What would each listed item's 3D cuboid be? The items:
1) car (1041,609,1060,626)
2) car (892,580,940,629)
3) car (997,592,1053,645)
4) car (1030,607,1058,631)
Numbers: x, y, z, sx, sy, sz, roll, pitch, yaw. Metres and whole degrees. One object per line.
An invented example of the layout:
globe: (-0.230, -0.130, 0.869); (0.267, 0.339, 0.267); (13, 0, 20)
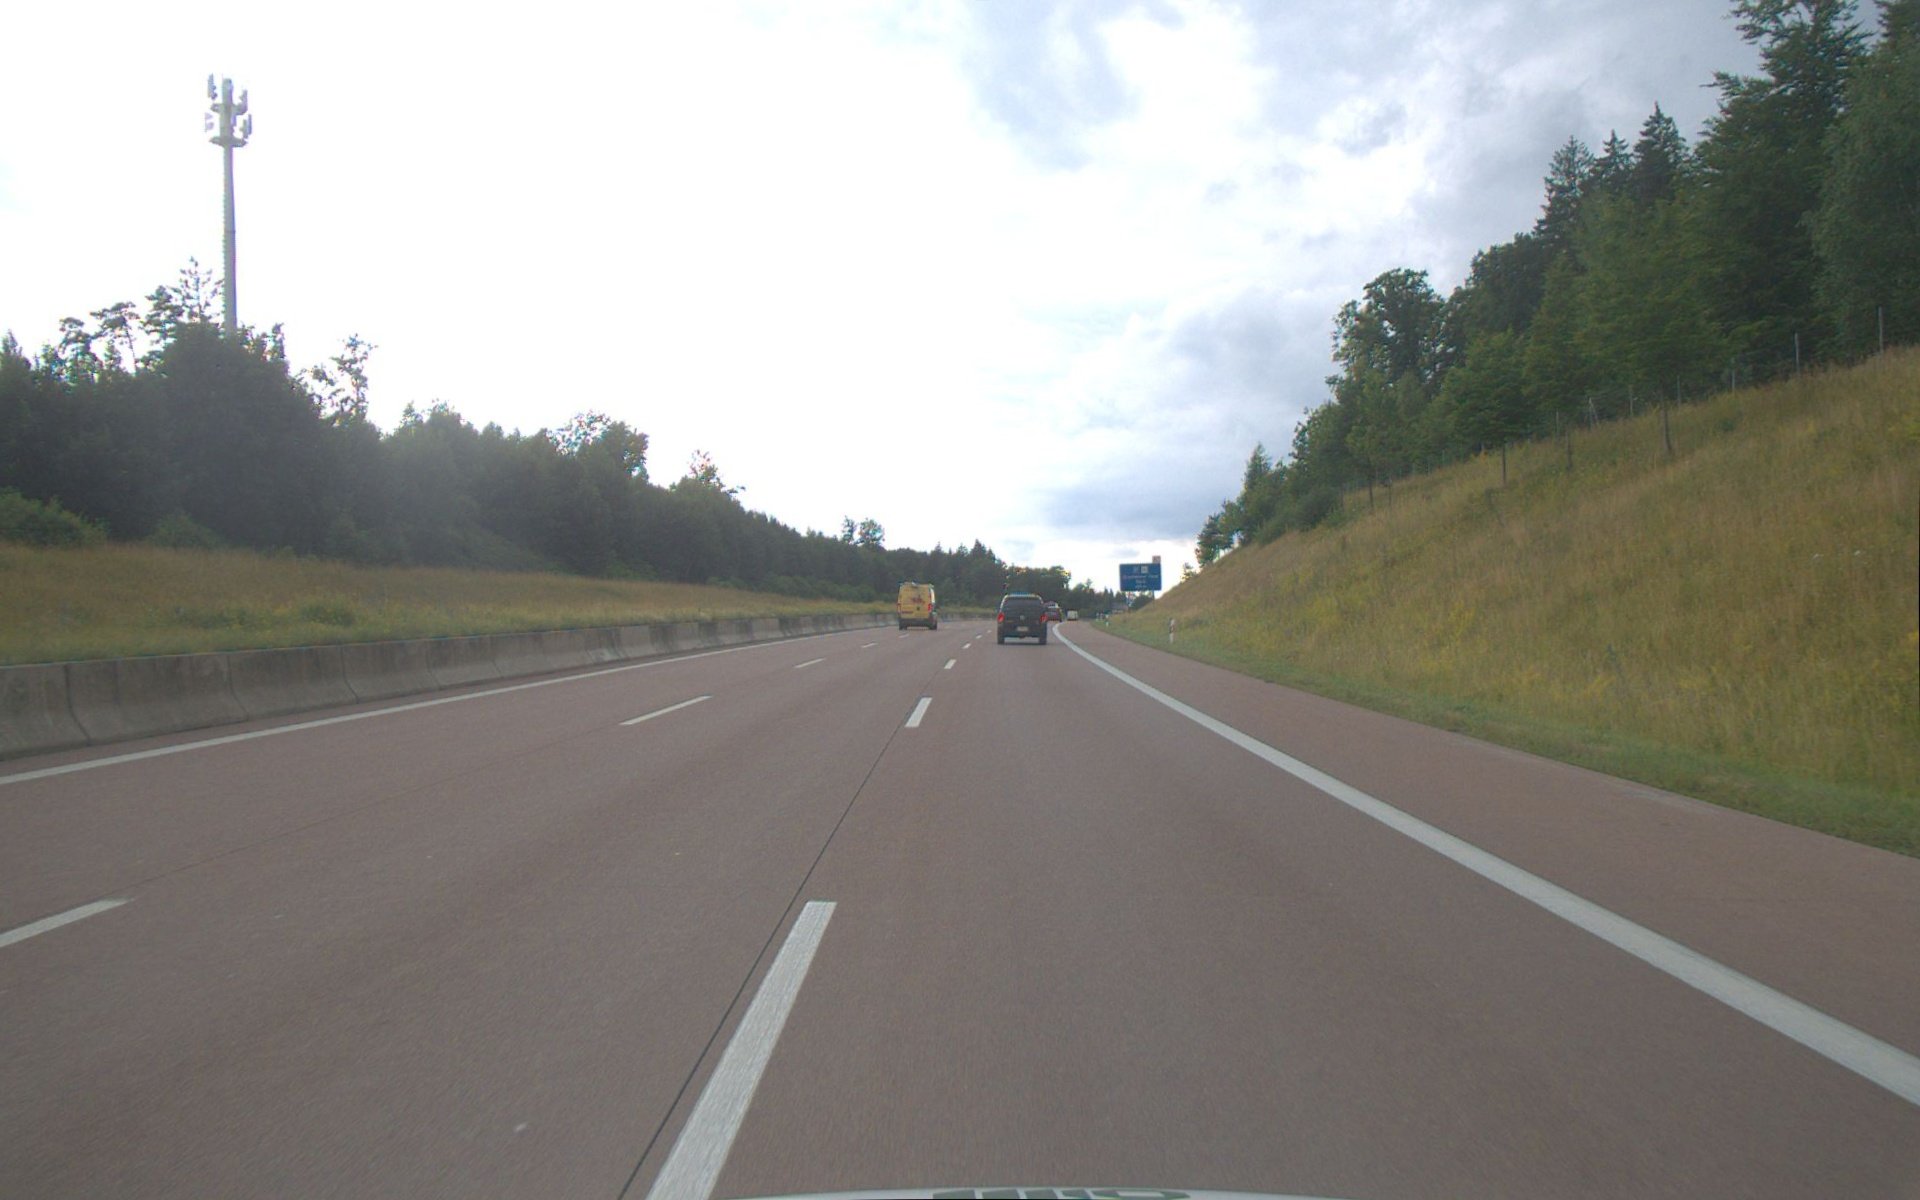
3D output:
car: (9.899, 1.915, 180.374); (1.936, 1.677, 4.619); (-1, -2, 2)
car: (-2.568, 0.299, 97.979); (2.407, 2.754, 5.615); (-1, -2, 3)
car: (2.433, 0.751, 63.155); (2.002, 1.930, 5.577); (0, -2, 1)
car: (5.995, 1.370, 117.863); (1.936, 1.677, 4.621); (1, -1, 4)
